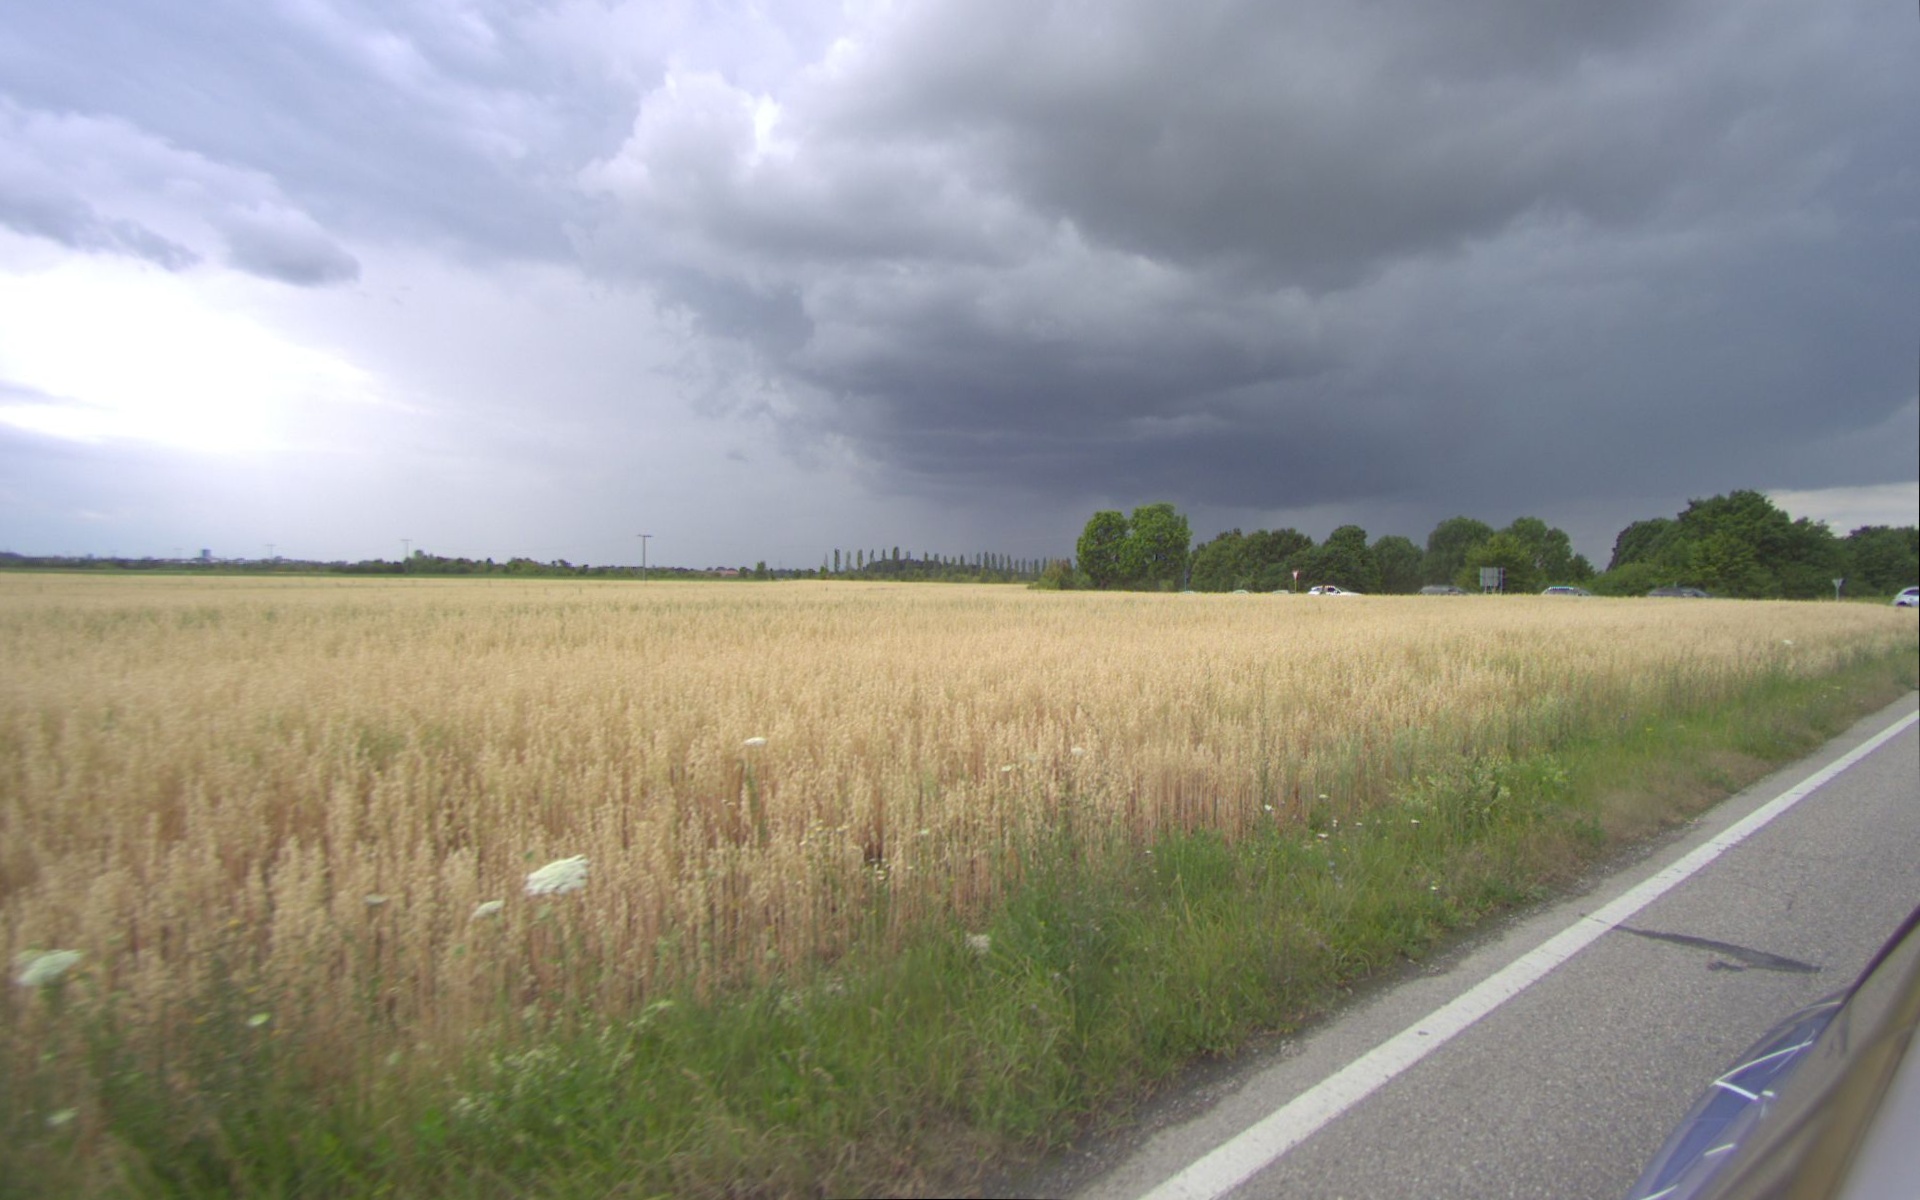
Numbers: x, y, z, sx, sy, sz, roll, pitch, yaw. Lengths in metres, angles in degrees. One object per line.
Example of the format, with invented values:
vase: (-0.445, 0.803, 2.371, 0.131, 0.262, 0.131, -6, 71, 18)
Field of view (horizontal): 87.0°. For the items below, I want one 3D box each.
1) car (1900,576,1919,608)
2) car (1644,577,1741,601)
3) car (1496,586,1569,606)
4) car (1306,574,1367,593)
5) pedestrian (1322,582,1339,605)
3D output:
car: (50.725, -0.357, 51.153, 1.956, 1.605, 4.403, -2, 3, -8)
car: (46.468, -0.734, 64.269, 1.689, 1.369, 4.698, -3, 3, -33)
car: (40.972, -0.316, 72.468, 1.690, 1.370, 4.214, 0, 2, -35)
car: (31.575, -1.436, 85.038, 1.690, 1.512, 4.639, -3, 3, -35)
pedestrian: (26.392, -0.480, 72.077, 0.939, 1.631, 0.763, 1, 1, 37)
